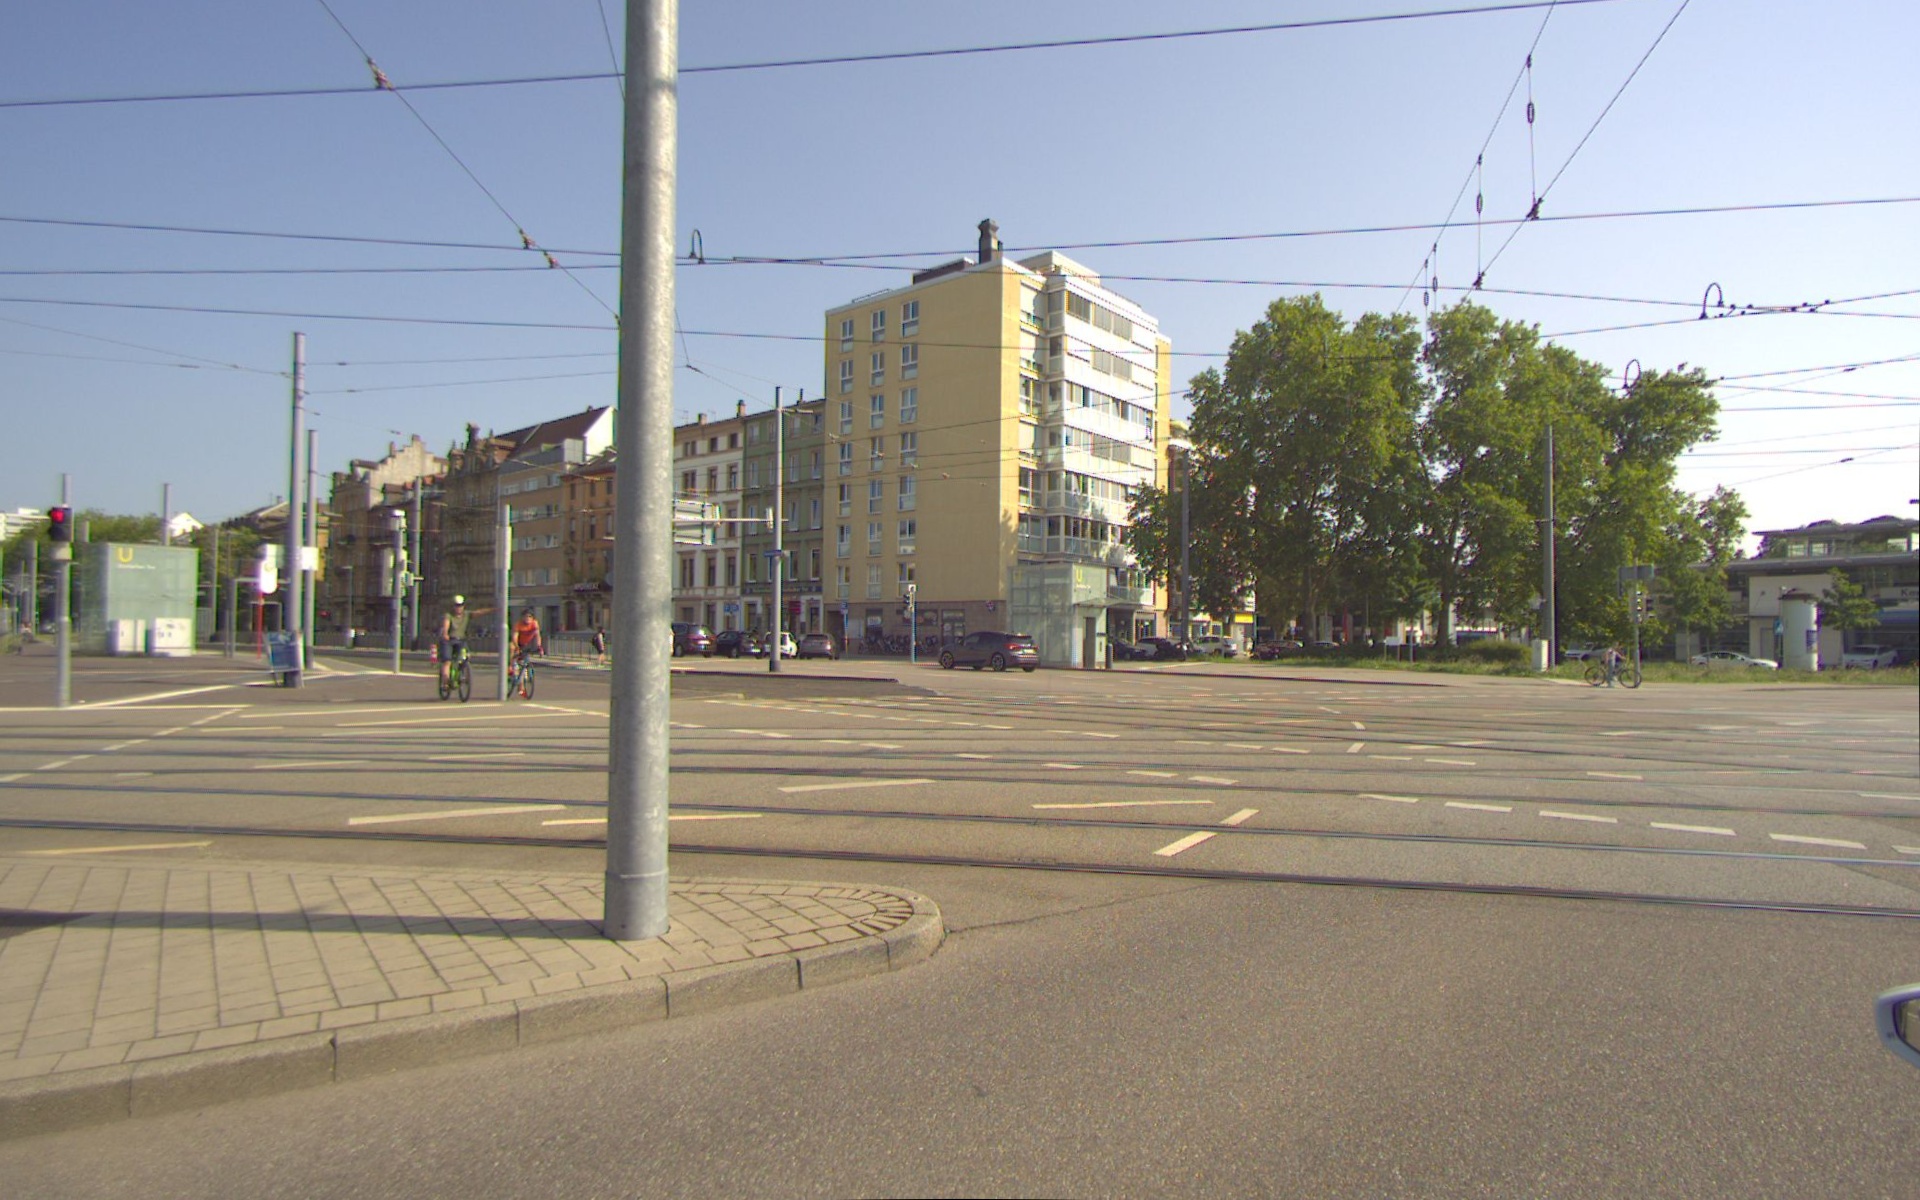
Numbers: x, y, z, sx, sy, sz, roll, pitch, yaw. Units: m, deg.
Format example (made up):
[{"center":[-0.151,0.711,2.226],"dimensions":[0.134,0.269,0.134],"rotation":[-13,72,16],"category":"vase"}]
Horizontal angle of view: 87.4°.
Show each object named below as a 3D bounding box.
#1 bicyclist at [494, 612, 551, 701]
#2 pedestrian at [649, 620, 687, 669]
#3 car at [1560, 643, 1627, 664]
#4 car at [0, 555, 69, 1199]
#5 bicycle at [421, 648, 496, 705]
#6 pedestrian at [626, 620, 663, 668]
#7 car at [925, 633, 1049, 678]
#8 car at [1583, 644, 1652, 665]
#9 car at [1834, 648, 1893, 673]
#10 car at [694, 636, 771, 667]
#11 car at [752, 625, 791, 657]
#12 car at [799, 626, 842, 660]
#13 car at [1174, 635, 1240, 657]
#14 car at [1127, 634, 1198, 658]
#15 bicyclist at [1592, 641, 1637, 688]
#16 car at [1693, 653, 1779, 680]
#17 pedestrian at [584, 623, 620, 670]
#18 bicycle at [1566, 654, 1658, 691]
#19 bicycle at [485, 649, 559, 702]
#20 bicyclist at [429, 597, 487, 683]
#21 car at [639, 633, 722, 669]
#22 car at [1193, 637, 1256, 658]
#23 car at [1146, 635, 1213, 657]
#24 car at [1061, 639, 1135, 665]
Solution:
[{"center":[-8.512,1.085,19.530],"dimensions":[0.721,1.674,0.872],"rotation":[2,-2,-44],"category":"bicyclist"},{"center":[-10.401,1.587,35.787],"dimensions":[0.911,1.712,0.918],"rotation":[0,-2,40],"category":"pedestrian"},{"center":[51.549,4.325,81.740],"dimensions":[4.427,1.542,1.705],"rotation":[1,-1,-2],"category":"car"},{"center":[-3.377,0.615,0.296],"dimensions":[4.316,1.511,1.676],"rotation":[2,-2,-27],"category":"car"},{"center":[-9.288,1.390,18.582],"dimensions":[0.721,0.944,1.795],"rotation":[2,-2,-44],"category":"bicycle"},{"center":[-11.557,1.602,36.845],"dimensions":[0.911,1.712,0.918],"rotation":[0,-2,40],"category":"pedestrian"},{"center":[0.942,2.009,37.060],"dimensions":[4.486,1.454,1.828],"rotation":[0,-2,43],"category":"car"},{"center":[52.084,4.309,79.635],"dimensions":[4.427,1.542,1.705],"rotation":[1,-1,-2],"category":"car"},{"center":[59.752,3.989,66.422],"dimensions":[4.050,1.542,1.692],"rotation":[2,-2,-29],"category":"car"},{"center":[-11.939,2.675,52.583],"dimensions":[4.307,1.511,1.680],"rotation":[-1,-2,40],"category":"car"},{"center":[-10.740,2.327,57.525],"dimensions":[1.963,1.700,4.544],"rotation":[1,-2,-8],"category":"car"},{"center":[-7.477,2.301,54.174],"dimensions":[1.962,1.700,4.548],"rotation":[1,-2,-4],"category":"car"},{"center":[16.855,3.130,68.609],"dimensions":[4.105,1.372,1.571],"rotation":[0,-2,39],"category":"car"},{"center":[12.563,2.863,62.436],"dimensions":[4.105,1.372,1.571],"rotation":[0,-2,39],"category":"car"},{"center":[23.110,2.266,35.468],"dimensions":[1.150,1.547,0.955],"rotation":[2,0,43],"category":"bicyclist"},{"center":[49.482,4.225,64.128],"dimensions":[1.684,1.542,4.070],"rotation":[2,-2,-28],"category":"car"},{"center":[-13.501,1.745,37.872],"dimensions":[0.911,1.712,0.918],"rotation":[0,-2,40],"category":"pedestrian"},{"center":[23.033,2.537,35.526],"dimensions":[2.571,1.071,0.955],"rotation":[3,0,43],"category":"bicycle"},{"center":[-8.538,1.446,19.536],"dimensions":[0.721,0.944,1.795],"rotation":[2,-2,-44],"category":"bicycle"},{"center":[-9.316,0.744,18.634],"dimensions":[0.721,1.547,0.786],"rotation":[2,-2,-44],"category":"bicyclist"},{"center":[-14.144,2.541,50.685],"dimensions":[4.486,1.700,1.989],"rotation":[0,-2,43],"category":"car"},{"center":[19.024,3.401,72.423],"dimensions":[4.105,1.372,1.571],"rotation":[0,-2,39],"category":"car"},{"center":[14.648,3.049,67.190],"dimensions":[4.105,1.372,1.571],"rotation":[0,-2,39],"category":"car"},{"center":[8.004,3.029,58.471],"dimensions":[4.105,1.372,1.475],"rotation":[0,-2,39],"category":"car"}]
